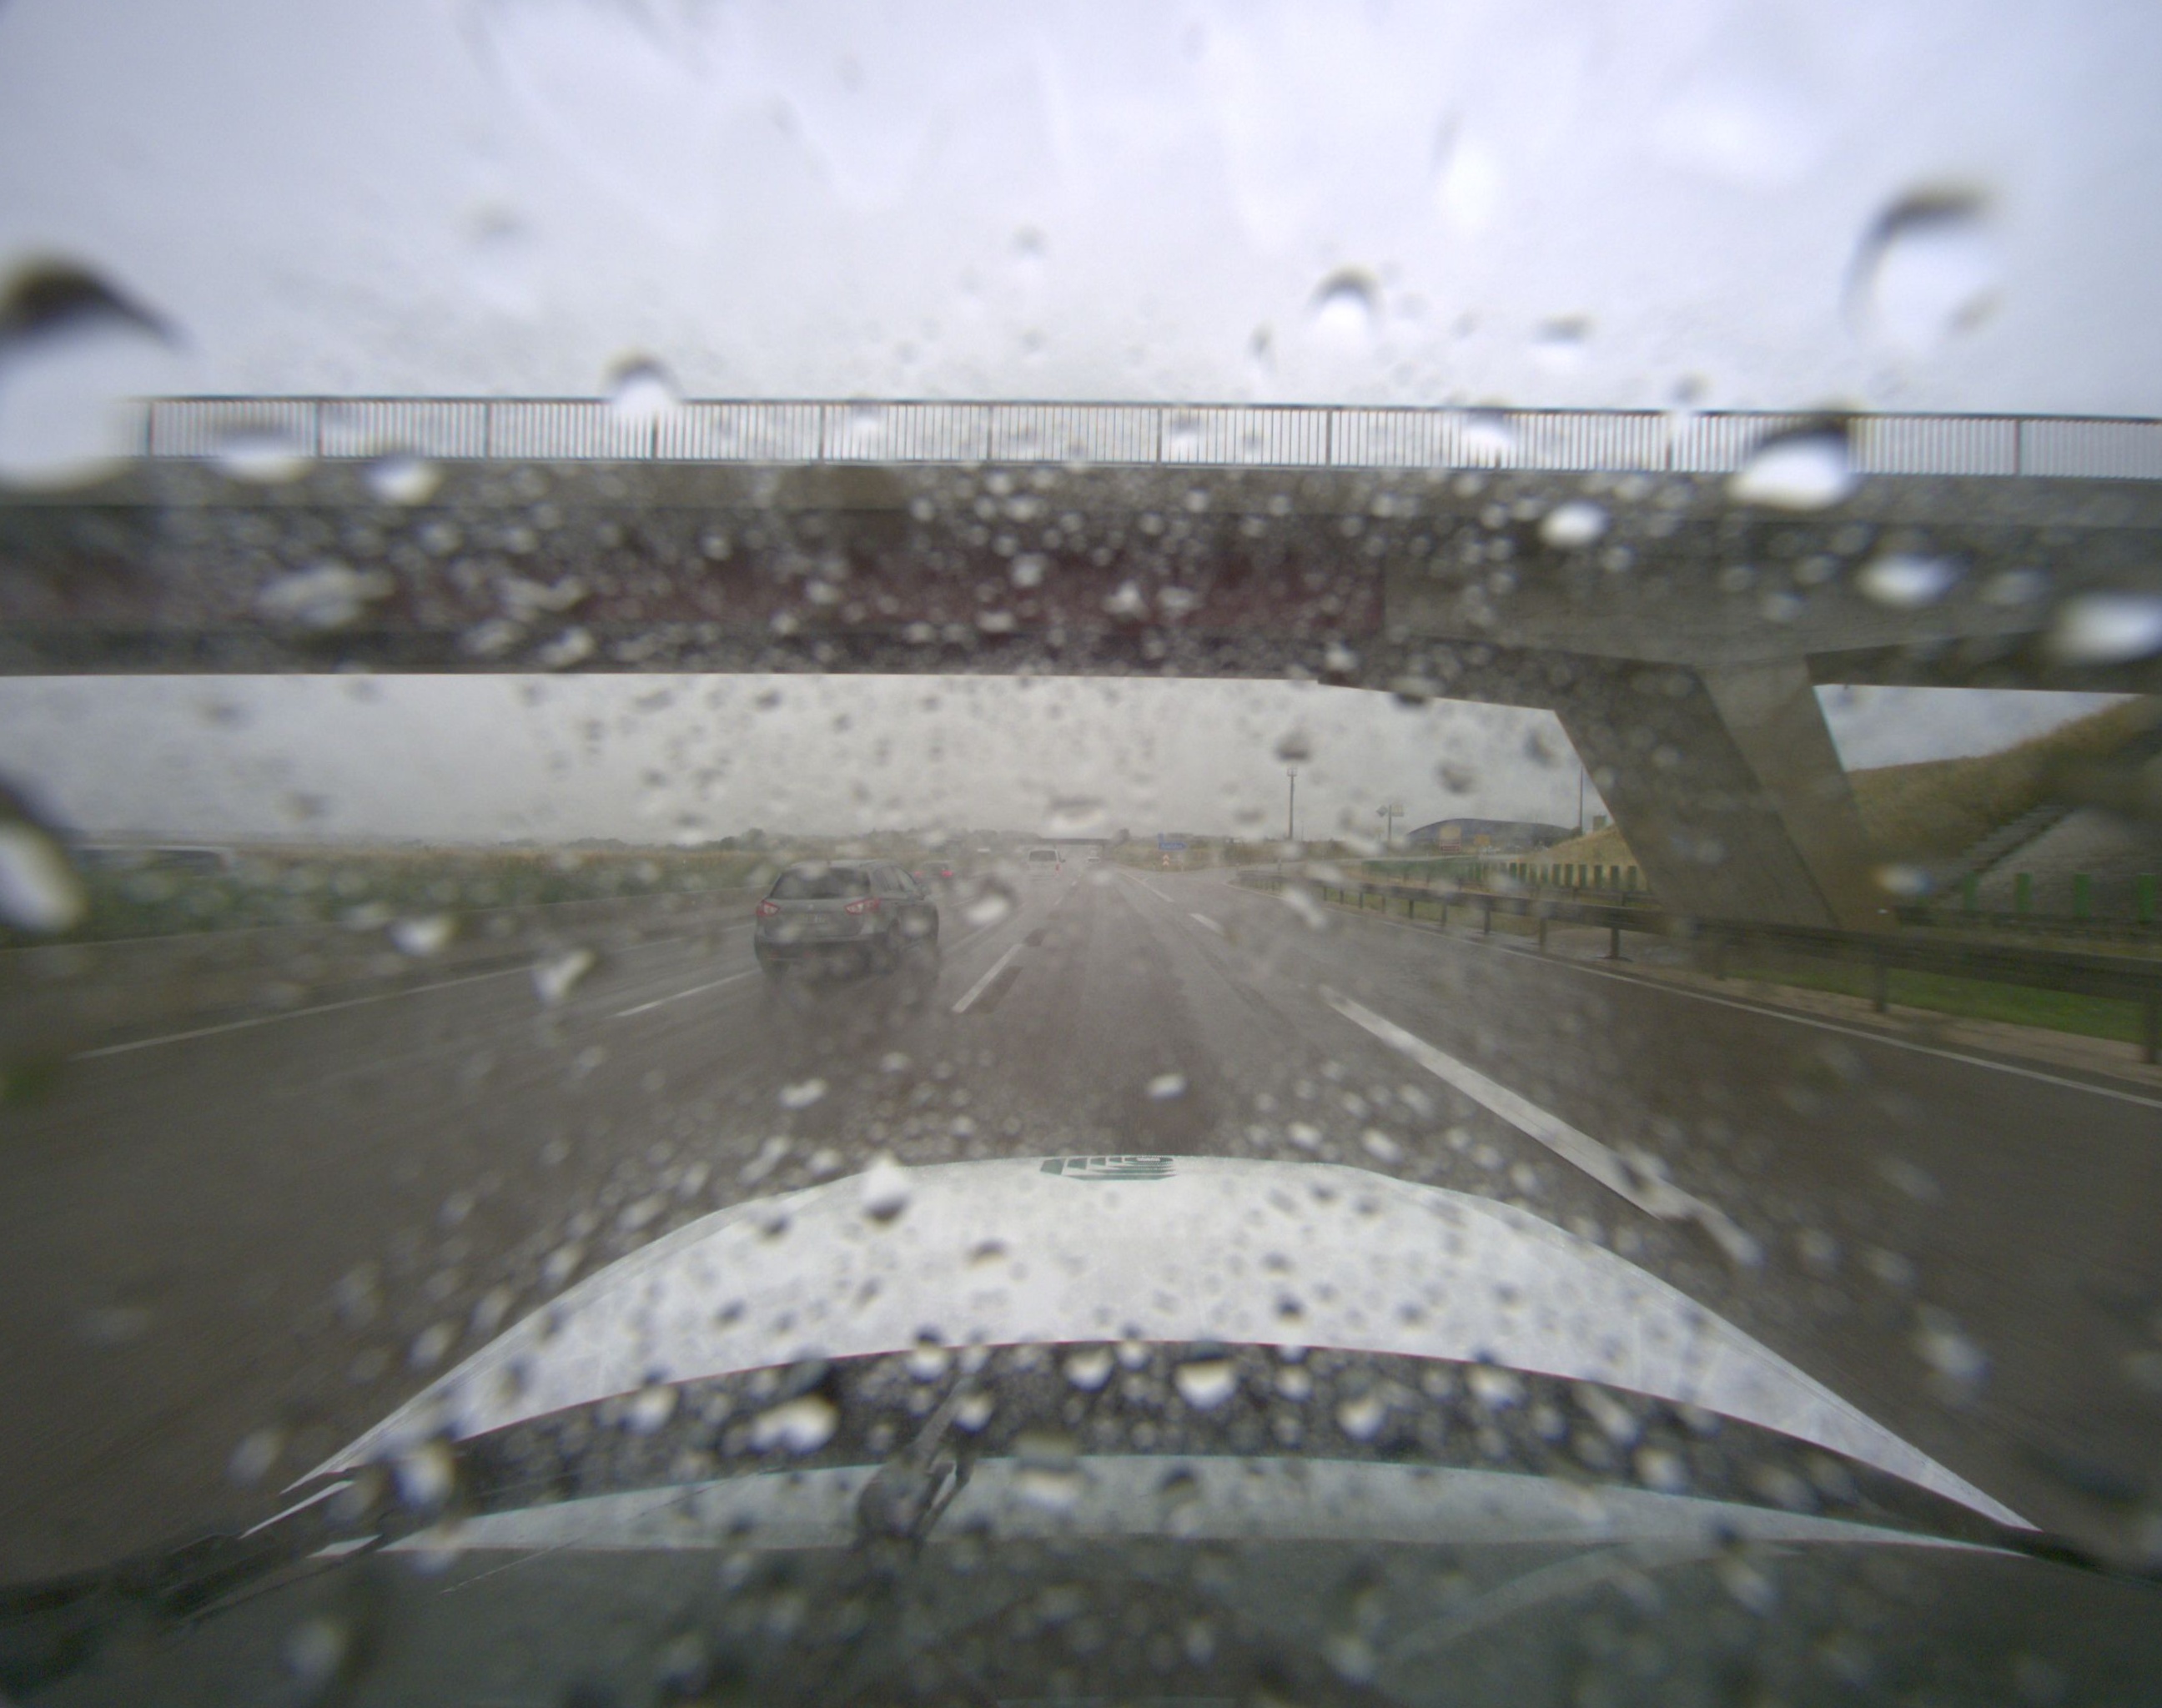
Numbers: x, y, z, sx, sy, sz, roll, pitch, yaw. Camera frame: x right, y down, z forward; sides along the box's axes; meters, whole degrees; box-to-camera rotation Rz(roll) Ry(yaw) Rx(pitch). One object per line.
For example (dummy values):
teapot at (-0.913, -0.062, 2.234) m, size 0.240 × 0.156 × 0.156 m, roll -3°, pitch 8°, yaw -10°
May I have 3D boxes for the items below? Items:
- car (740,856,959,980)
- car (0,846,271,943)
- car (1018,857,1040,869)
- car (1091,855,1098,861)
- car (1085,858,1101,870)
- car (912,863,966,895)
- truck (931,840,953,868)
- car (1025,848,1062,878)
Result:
car at (-3.202, 0.794, 12.389) m, size 1.839 × 1.513 × 4.758 m, roll 0°, pitch 0°, yaw 2°
car at (-18.061, 0.671, 15.208) m, size 1.639 × 1.552 × 4.147 m, roll 0°, pitch -1°, yaw 1°
car at (-5.257, 0.911, 82.389) m, size 1.459 × 1.257 × 3.348 m, roll -1°, pitch -1°, yaw 9°
car at (4.389, 1.281, 261.747) m, size 1.989 × 2.101 × 3.995 m, roll 0°, pitch 0°, yaw -4°
car at (1.267, 0.978, 83.805) m, size 1.461 × 1.208 × 2.994 m, roll 0°, pitch 0°, yaw 3°
car at (-6.307, 1.078, 36.520) m, size 1.606 × 1.354 × 4.001 m, roll 0°, pitch 0°, yaw 2°
truck at (-20.483, 0.058, 120.160) m, size 2.206 × 3.983 × 5.185 m, roll 0°, pitch 0°, yaw 1°
car at (-2.035, 0.497, 45.469) m, size 1.891 × 1.585 × 3.998 m, roll 0°, pitch -1°, yaw -1°
